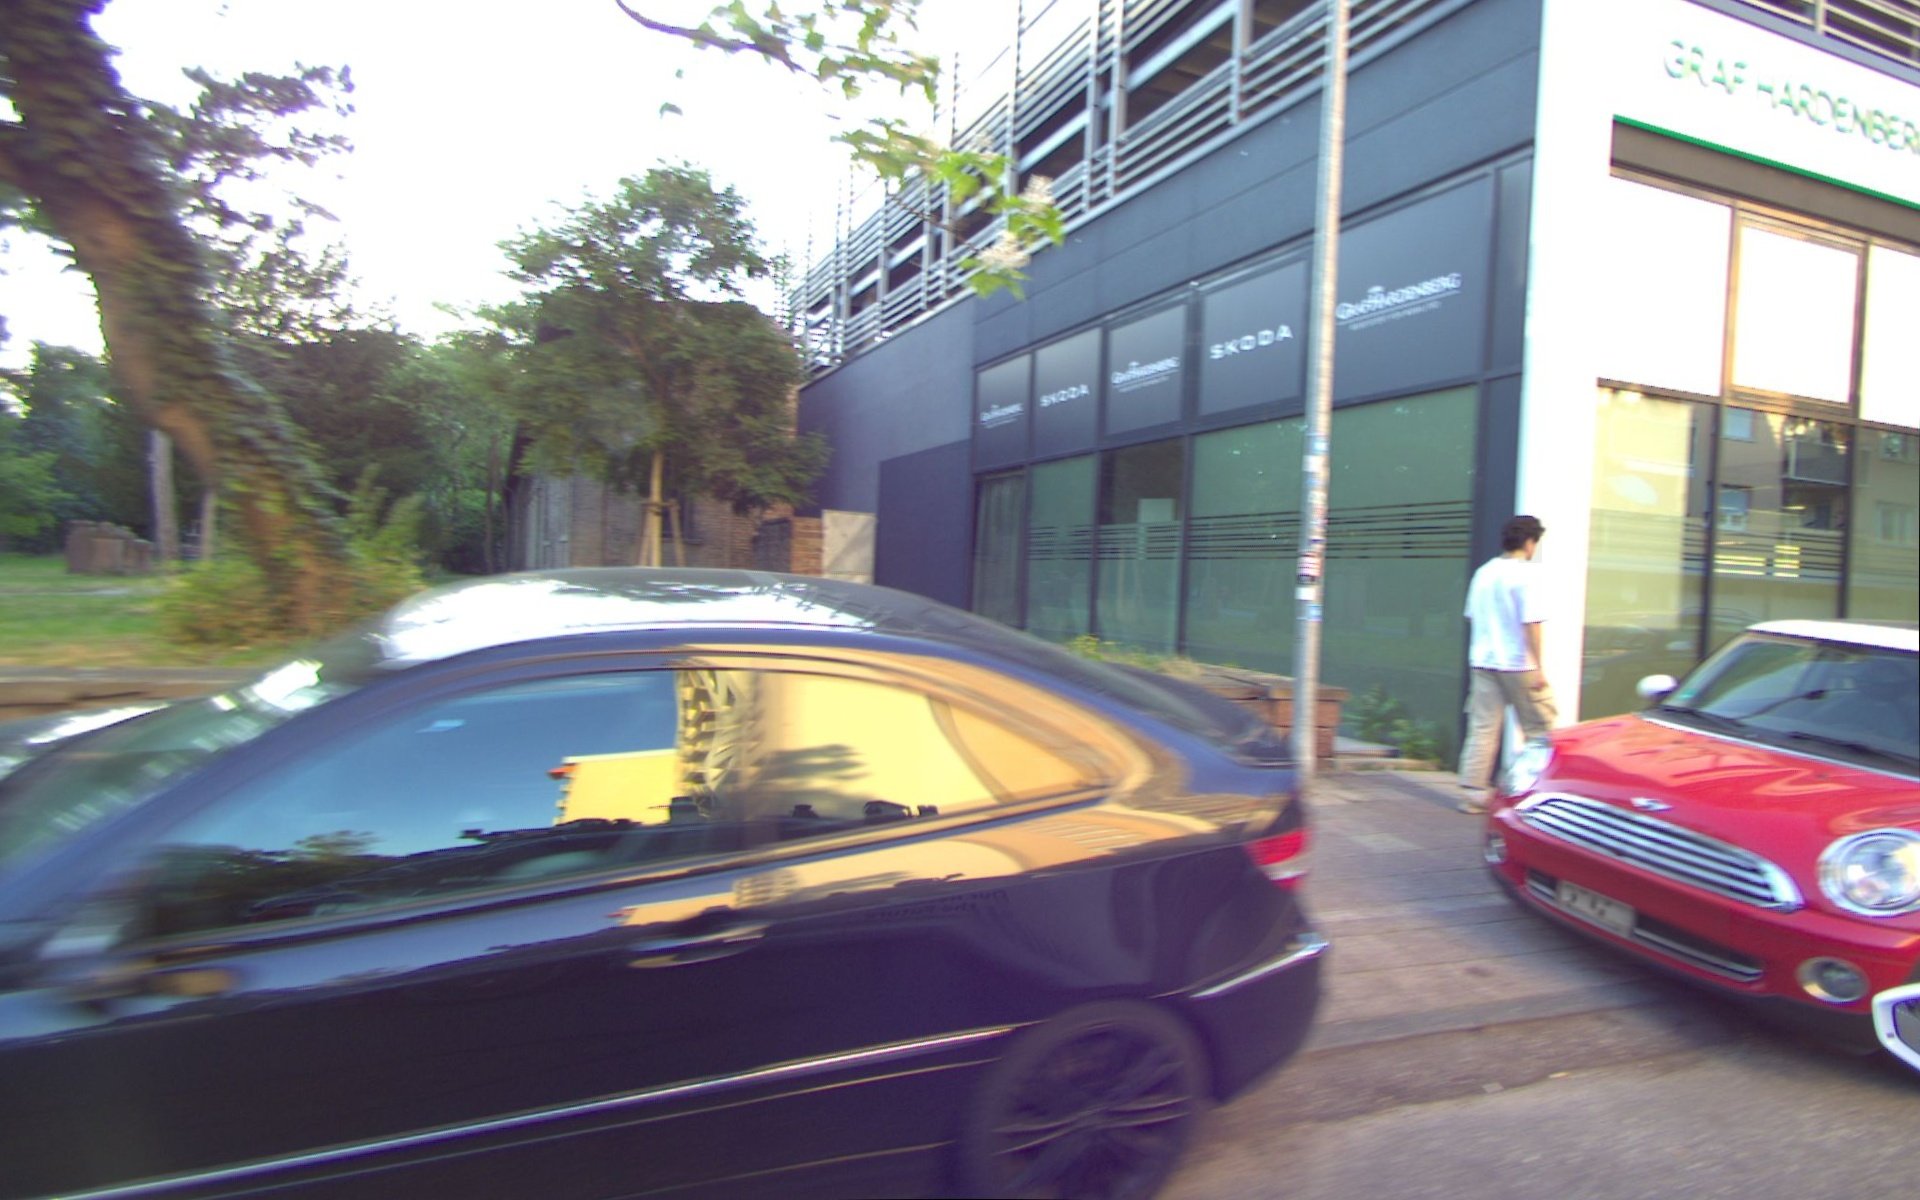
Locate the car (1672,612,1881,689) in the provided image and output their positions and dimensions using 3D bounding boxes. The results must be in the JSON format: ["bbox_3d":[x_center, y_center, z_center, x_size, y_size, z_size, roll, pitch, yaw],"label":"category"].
[{"bbox_3d":[17.197,1.054,21.175,3.861,1.453,1.695,2,1,-21],"label":"car"}]

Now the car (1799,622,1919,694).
[{"bbox_3d":[21.258,1.315,22.795,3.861,1.453,1.695,2,1,-21],"label":"car"}]

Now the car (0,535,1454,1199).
[{"bbox_3d":[-1.136,0.675,2.510,4.349,1.435,1.658,2,6,-22],"label":"car"}]

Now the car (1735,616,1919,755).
[{"bbox_3d":[12.411,1.063,13.114,4.129,1.535,1.695,2,1,-21],"label":"car"}]

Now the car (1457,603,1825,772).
[{"bbox_3d":[7.861,0.951,11.608,3.819,1.672,1.590,2,1,-21],"label":"car"}]

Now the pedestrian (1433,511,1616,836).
[{"bbox_3d":[3.521,0.431,6.308,0.610,1.903,0.720,1,1,-19],"label":"pedestrian"}]

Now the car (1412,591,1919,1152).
[{"bbox_3d":[4.102,0.818,4.341,3.872,1.430,1.657,2,6,-24],"label":"car"}]
